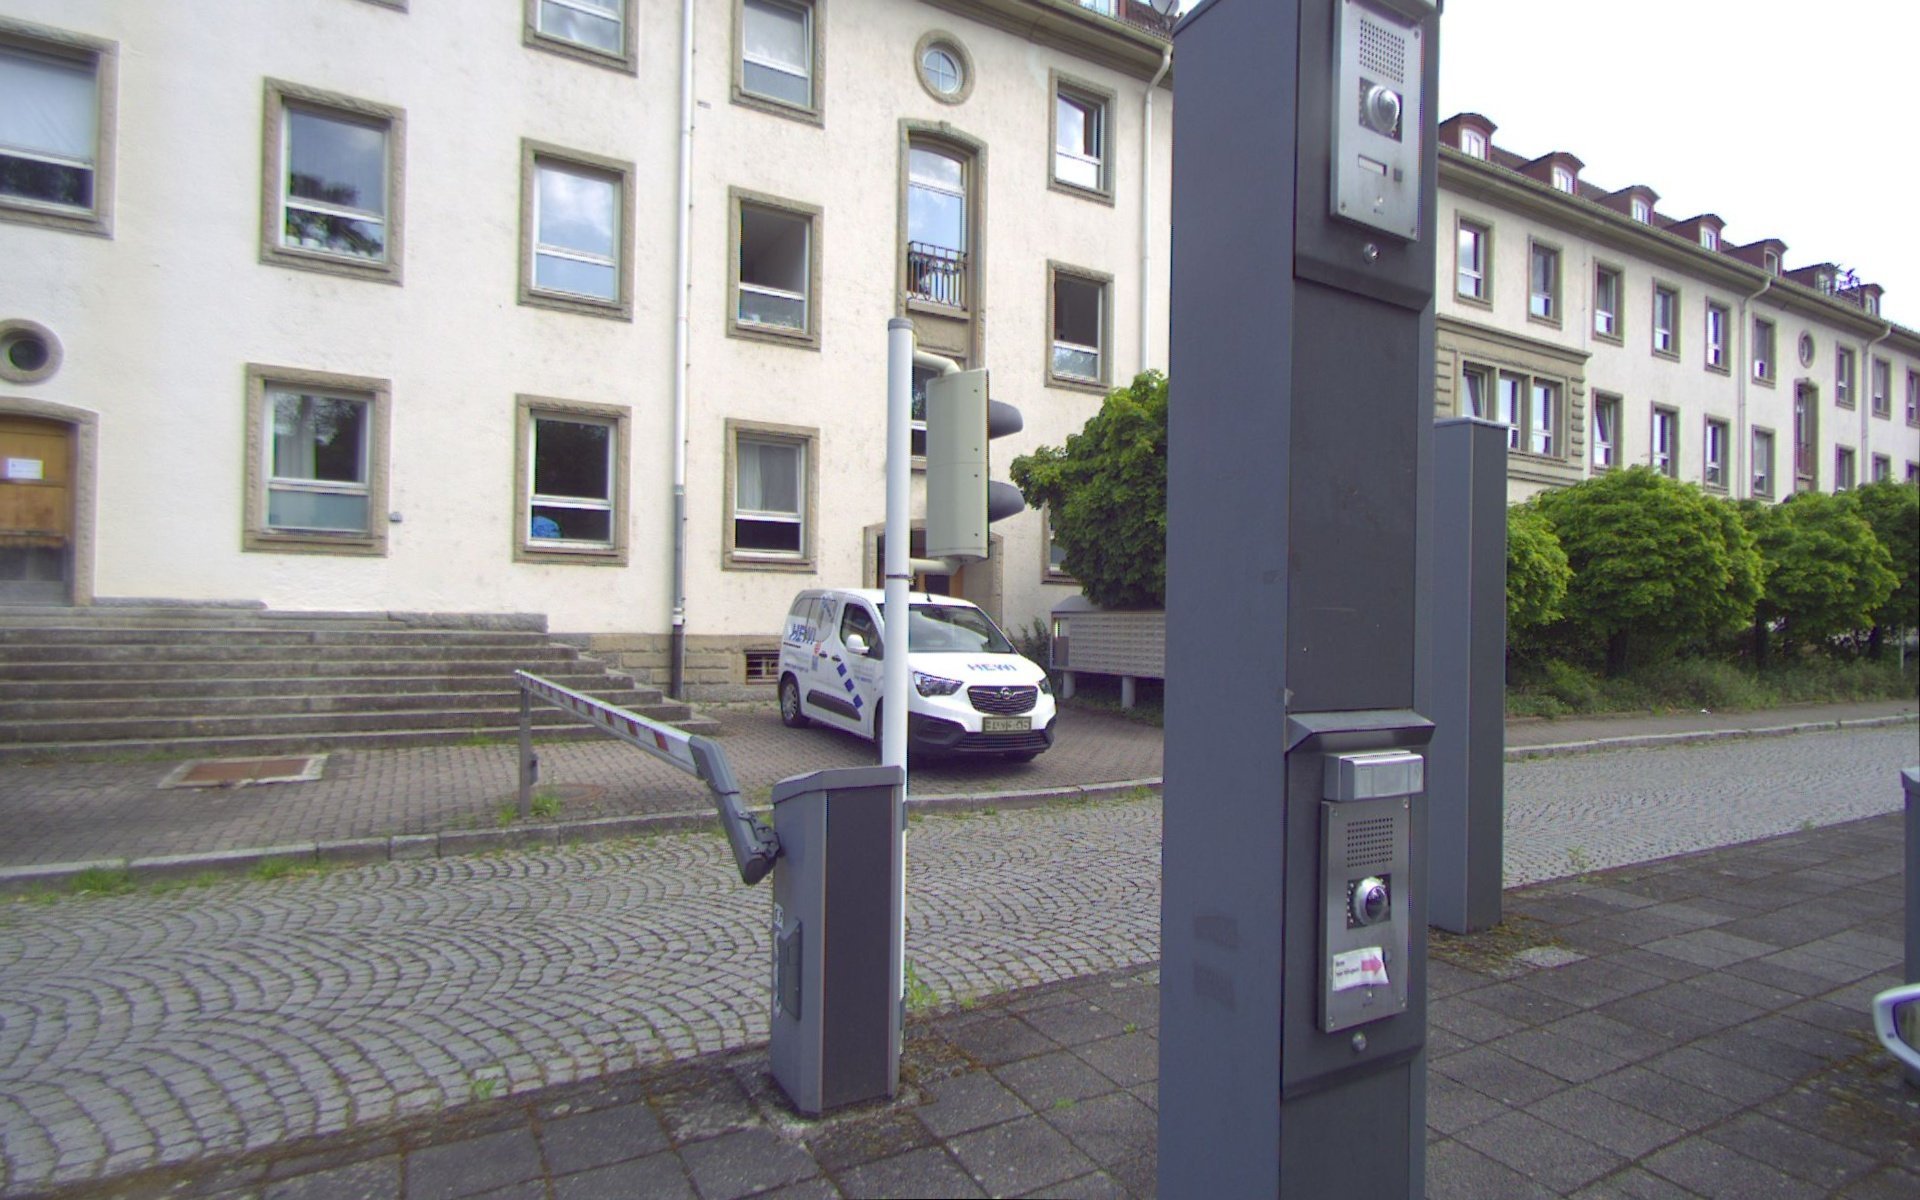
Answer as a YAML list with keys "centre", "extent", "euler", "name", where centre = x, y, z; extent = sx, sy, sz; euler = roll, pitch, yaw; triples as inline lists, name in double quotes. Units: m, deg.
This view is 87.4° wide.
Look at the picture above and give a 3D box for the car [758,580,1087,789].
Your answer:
- centre: [-0.667, 0.765, 11.678]
  extent: [1.838, 1.775, 4.411]
  euler: [1, 3, -32]
  name: "car"
